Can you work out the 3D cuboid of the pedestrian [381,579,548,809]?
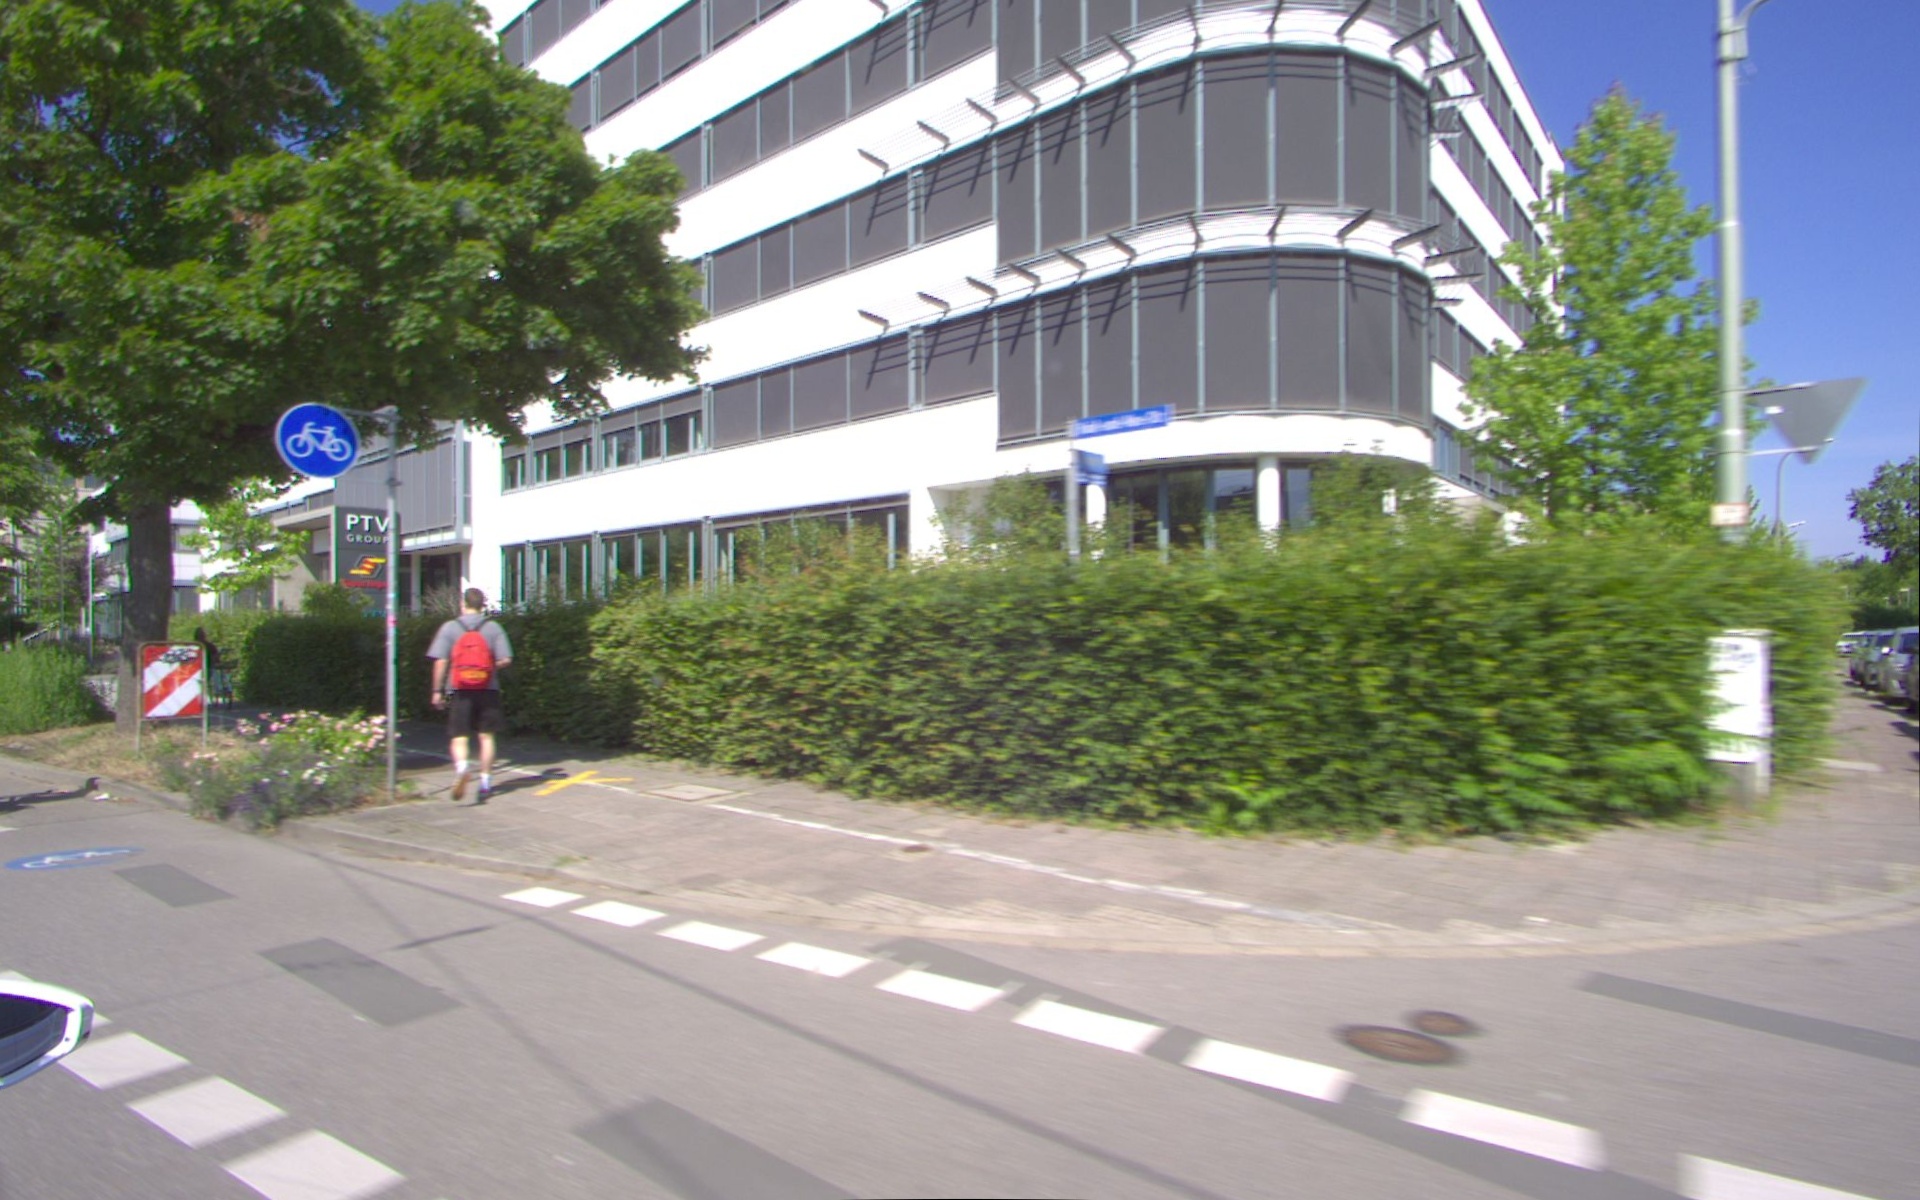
[{"bbox_3d":[-4.301,0.777,8.701,1.058,1.841,0.887,-1,-1,34],"label":"pedestrian"}]

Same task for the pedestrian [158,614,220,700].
[{"bbox_3d":[-14.854,1.080,19.286,0.975,1.584,0.684,-1,0,36],"label":"pedestrian"}]

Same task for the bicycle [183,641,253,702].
[{"bbox_3d":[-14.577,1.372,19.653,2.042,1.132,0.633,-2,-2,40],"label":"bicycle"}]

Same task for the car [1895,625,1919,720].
[{"bbox_3d":[16.399,1.145,16.040,1.762,1.462,3.823,-1,-2,38],"label":"car"}]

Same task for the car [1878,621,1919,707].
[{"bbox_3d":[19.093,1.172,19.282,1.793,1.524,4.015,-2,-1,39],"label":"car"}]
